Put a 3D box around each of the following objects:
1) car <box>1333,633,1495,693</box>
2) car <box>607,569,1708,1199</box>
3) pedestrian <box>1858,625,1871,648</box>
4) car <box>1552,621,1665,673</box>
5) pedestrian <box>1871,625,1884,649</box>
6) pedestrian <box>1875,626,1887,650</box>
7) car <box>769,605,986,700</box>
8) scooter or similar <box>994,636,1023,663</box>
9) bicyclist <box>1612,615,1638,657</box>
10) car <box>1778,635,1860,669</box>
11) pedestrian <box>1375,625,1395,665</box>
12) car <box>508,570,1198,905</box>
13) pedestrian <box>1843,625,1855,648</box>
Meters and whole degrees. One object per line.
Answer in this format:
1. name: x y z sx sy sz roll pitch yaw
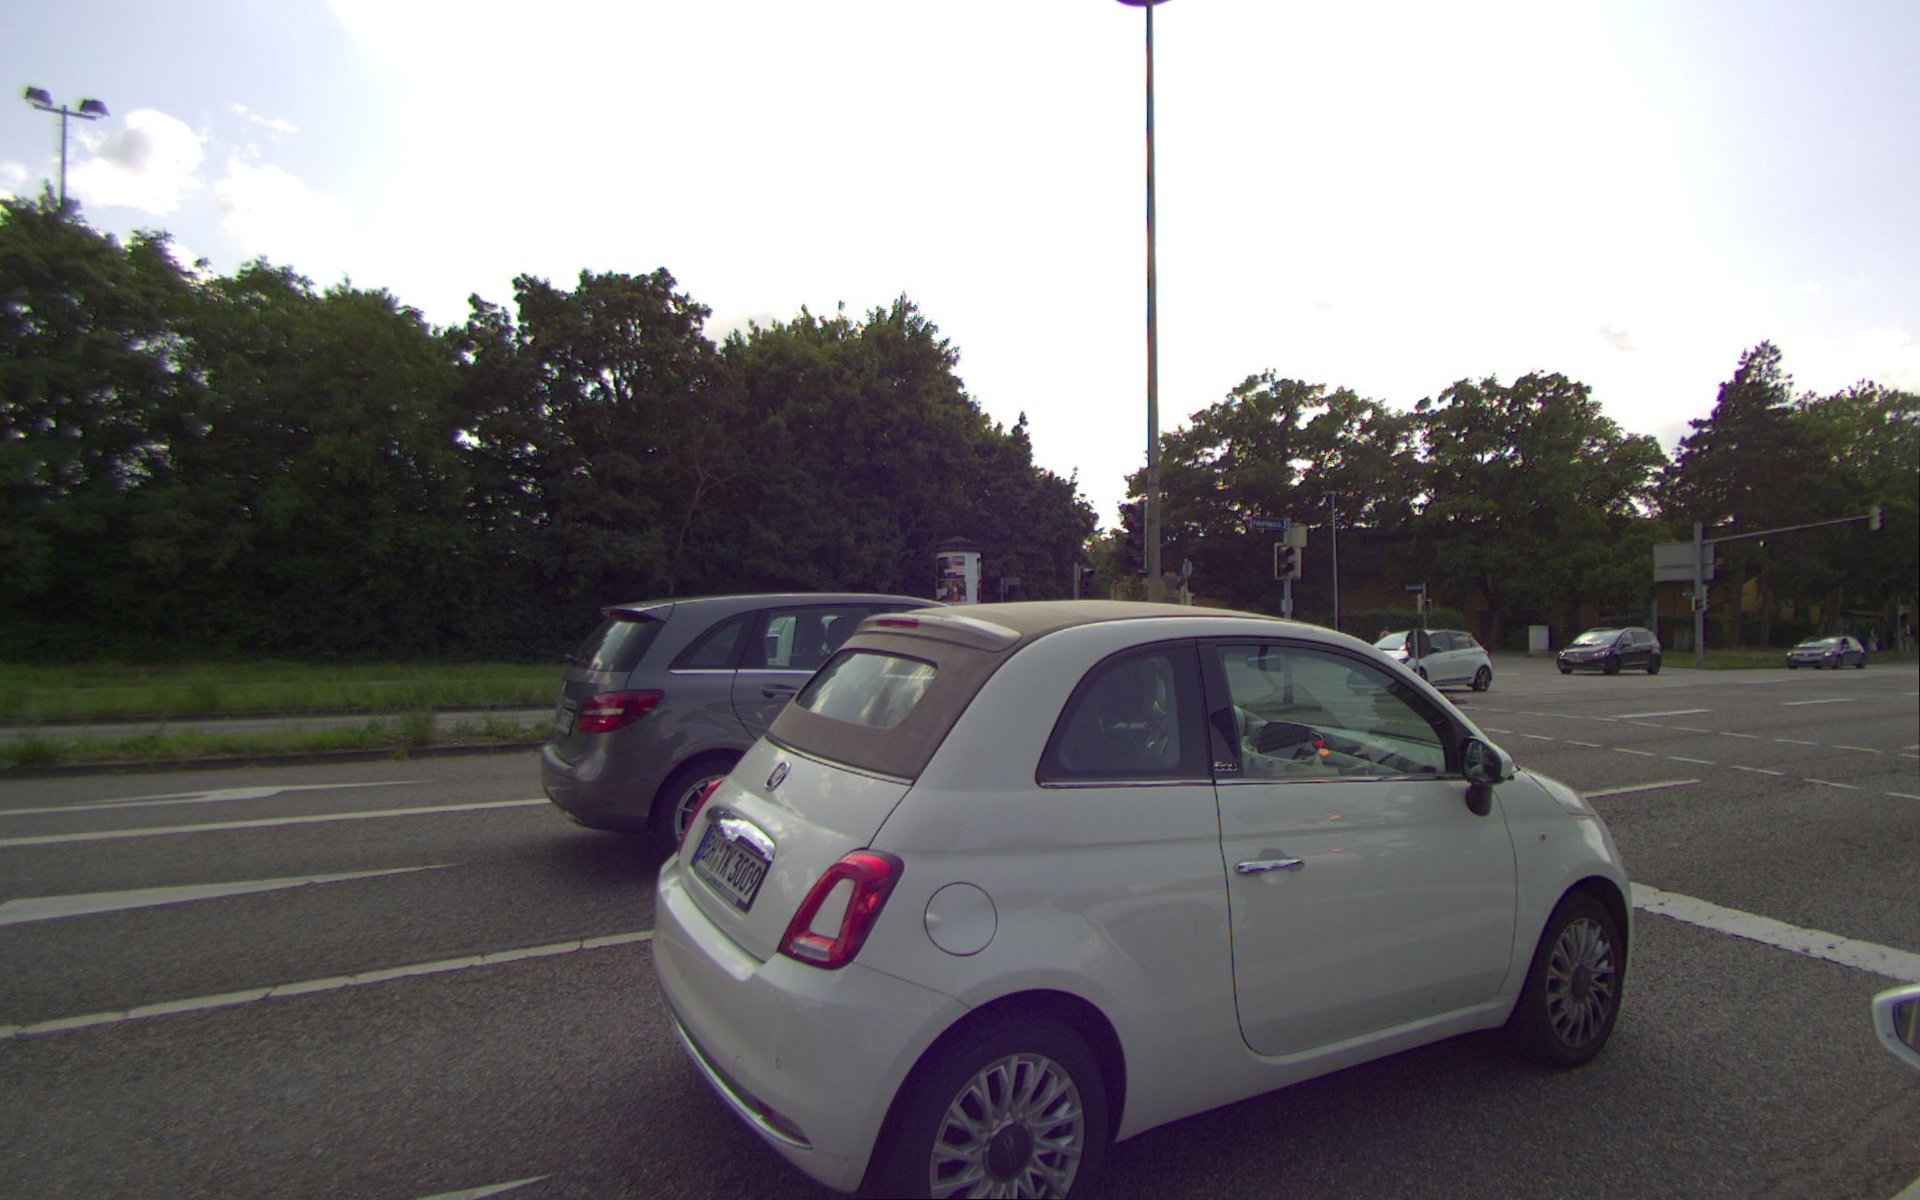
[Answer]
1. car: 10.883 1.498 24.056 3.650 1.325 1.745 2 -4 -30
2. car: 0.785 0.743 3.408 3.499 1.517 1.562 2 0 -30
3. pedestrian: 60.269 2.435 66.926 0.418 1.515 0.564 2 0 -45
4. car: 23.210 1.676 35.900 4.260 1.764 1.663 2 -2 -30
5. pedestrian: 61.042 2.458 66.813 0.418 1.515 0.564 2 0 -45
6. pedestrian: 60.328 2.480 65.780 0.418 1.515 0.564 2 0 -45
7. car: -1.684 1.070 21.007 4.205 1.817 1.663 2 -2 -30
8. scooter or similar: 1.798 1.828 36.984 1.022 0.954 0.295 2 0 -24
9. bicyclist: 32.605 1.754 49.260 0.822 2.040 0.747 1 -2 -32
10. car: 37.482 2.241 43.806 4.036 1.390 1.586 1 -2 -32
11. pedestrian: 18.938 2.017 44.746 0.678 1.765 0.705 0 -2 10
12. car: -0.591 0.741 6.765 4.309 1.640 1.690 2 -1 -30
13. pedestrian: 59.728 2.421 67.508 0.418 1.515 0.564 2 0 -45
